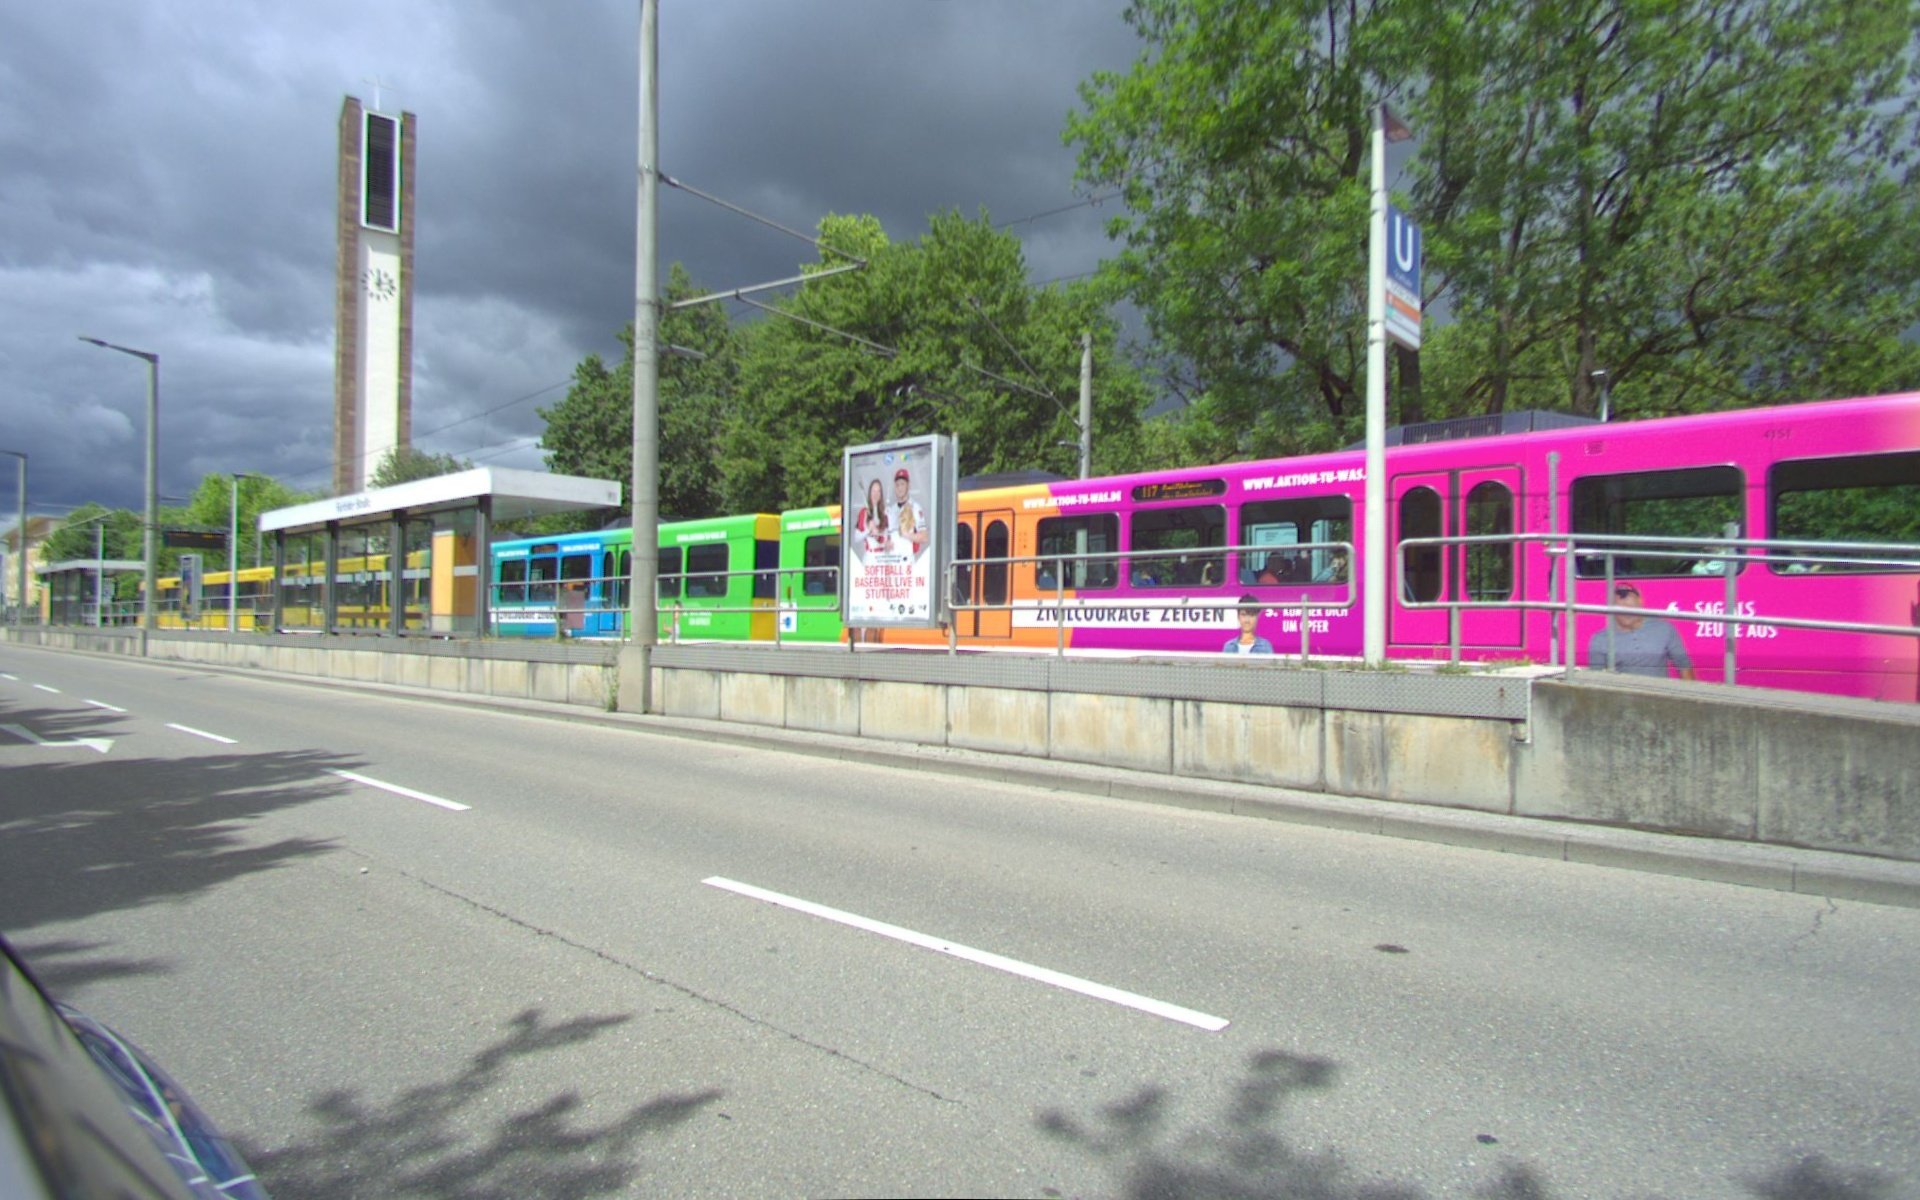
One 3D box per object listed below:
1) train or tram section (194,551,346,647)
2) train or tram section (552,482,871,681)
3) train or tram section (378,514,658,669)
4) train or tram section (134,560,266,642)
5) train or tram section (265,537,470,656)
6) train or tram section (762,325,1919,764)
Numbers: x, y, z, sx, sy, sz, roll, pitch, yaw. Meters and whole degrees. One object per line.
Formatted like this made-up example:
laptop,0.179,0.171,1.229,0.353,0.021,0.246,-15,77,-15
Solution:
train or tram section,-31.476,-0.005,45.880,11.101,3.892,2.950,-1,0,41
train or tram section,-6.069,-0.352,23.679,8.374,3.892,2.949,-1,0,41
train or tram section,-13.626,-0.183,30.336,11.780,3.892,2.949,-1,0,41
train or tram section,-40.648,0.087,53.872,13.143,3.892,2.949,-1,0,41
train or tram section,-22.653,-0.093,38.190,12.194,3.892,2.949,-1,0,41
train or tram section,4.077,-0.453,14.806,18.528,3.892,2.949,-1,0,41
